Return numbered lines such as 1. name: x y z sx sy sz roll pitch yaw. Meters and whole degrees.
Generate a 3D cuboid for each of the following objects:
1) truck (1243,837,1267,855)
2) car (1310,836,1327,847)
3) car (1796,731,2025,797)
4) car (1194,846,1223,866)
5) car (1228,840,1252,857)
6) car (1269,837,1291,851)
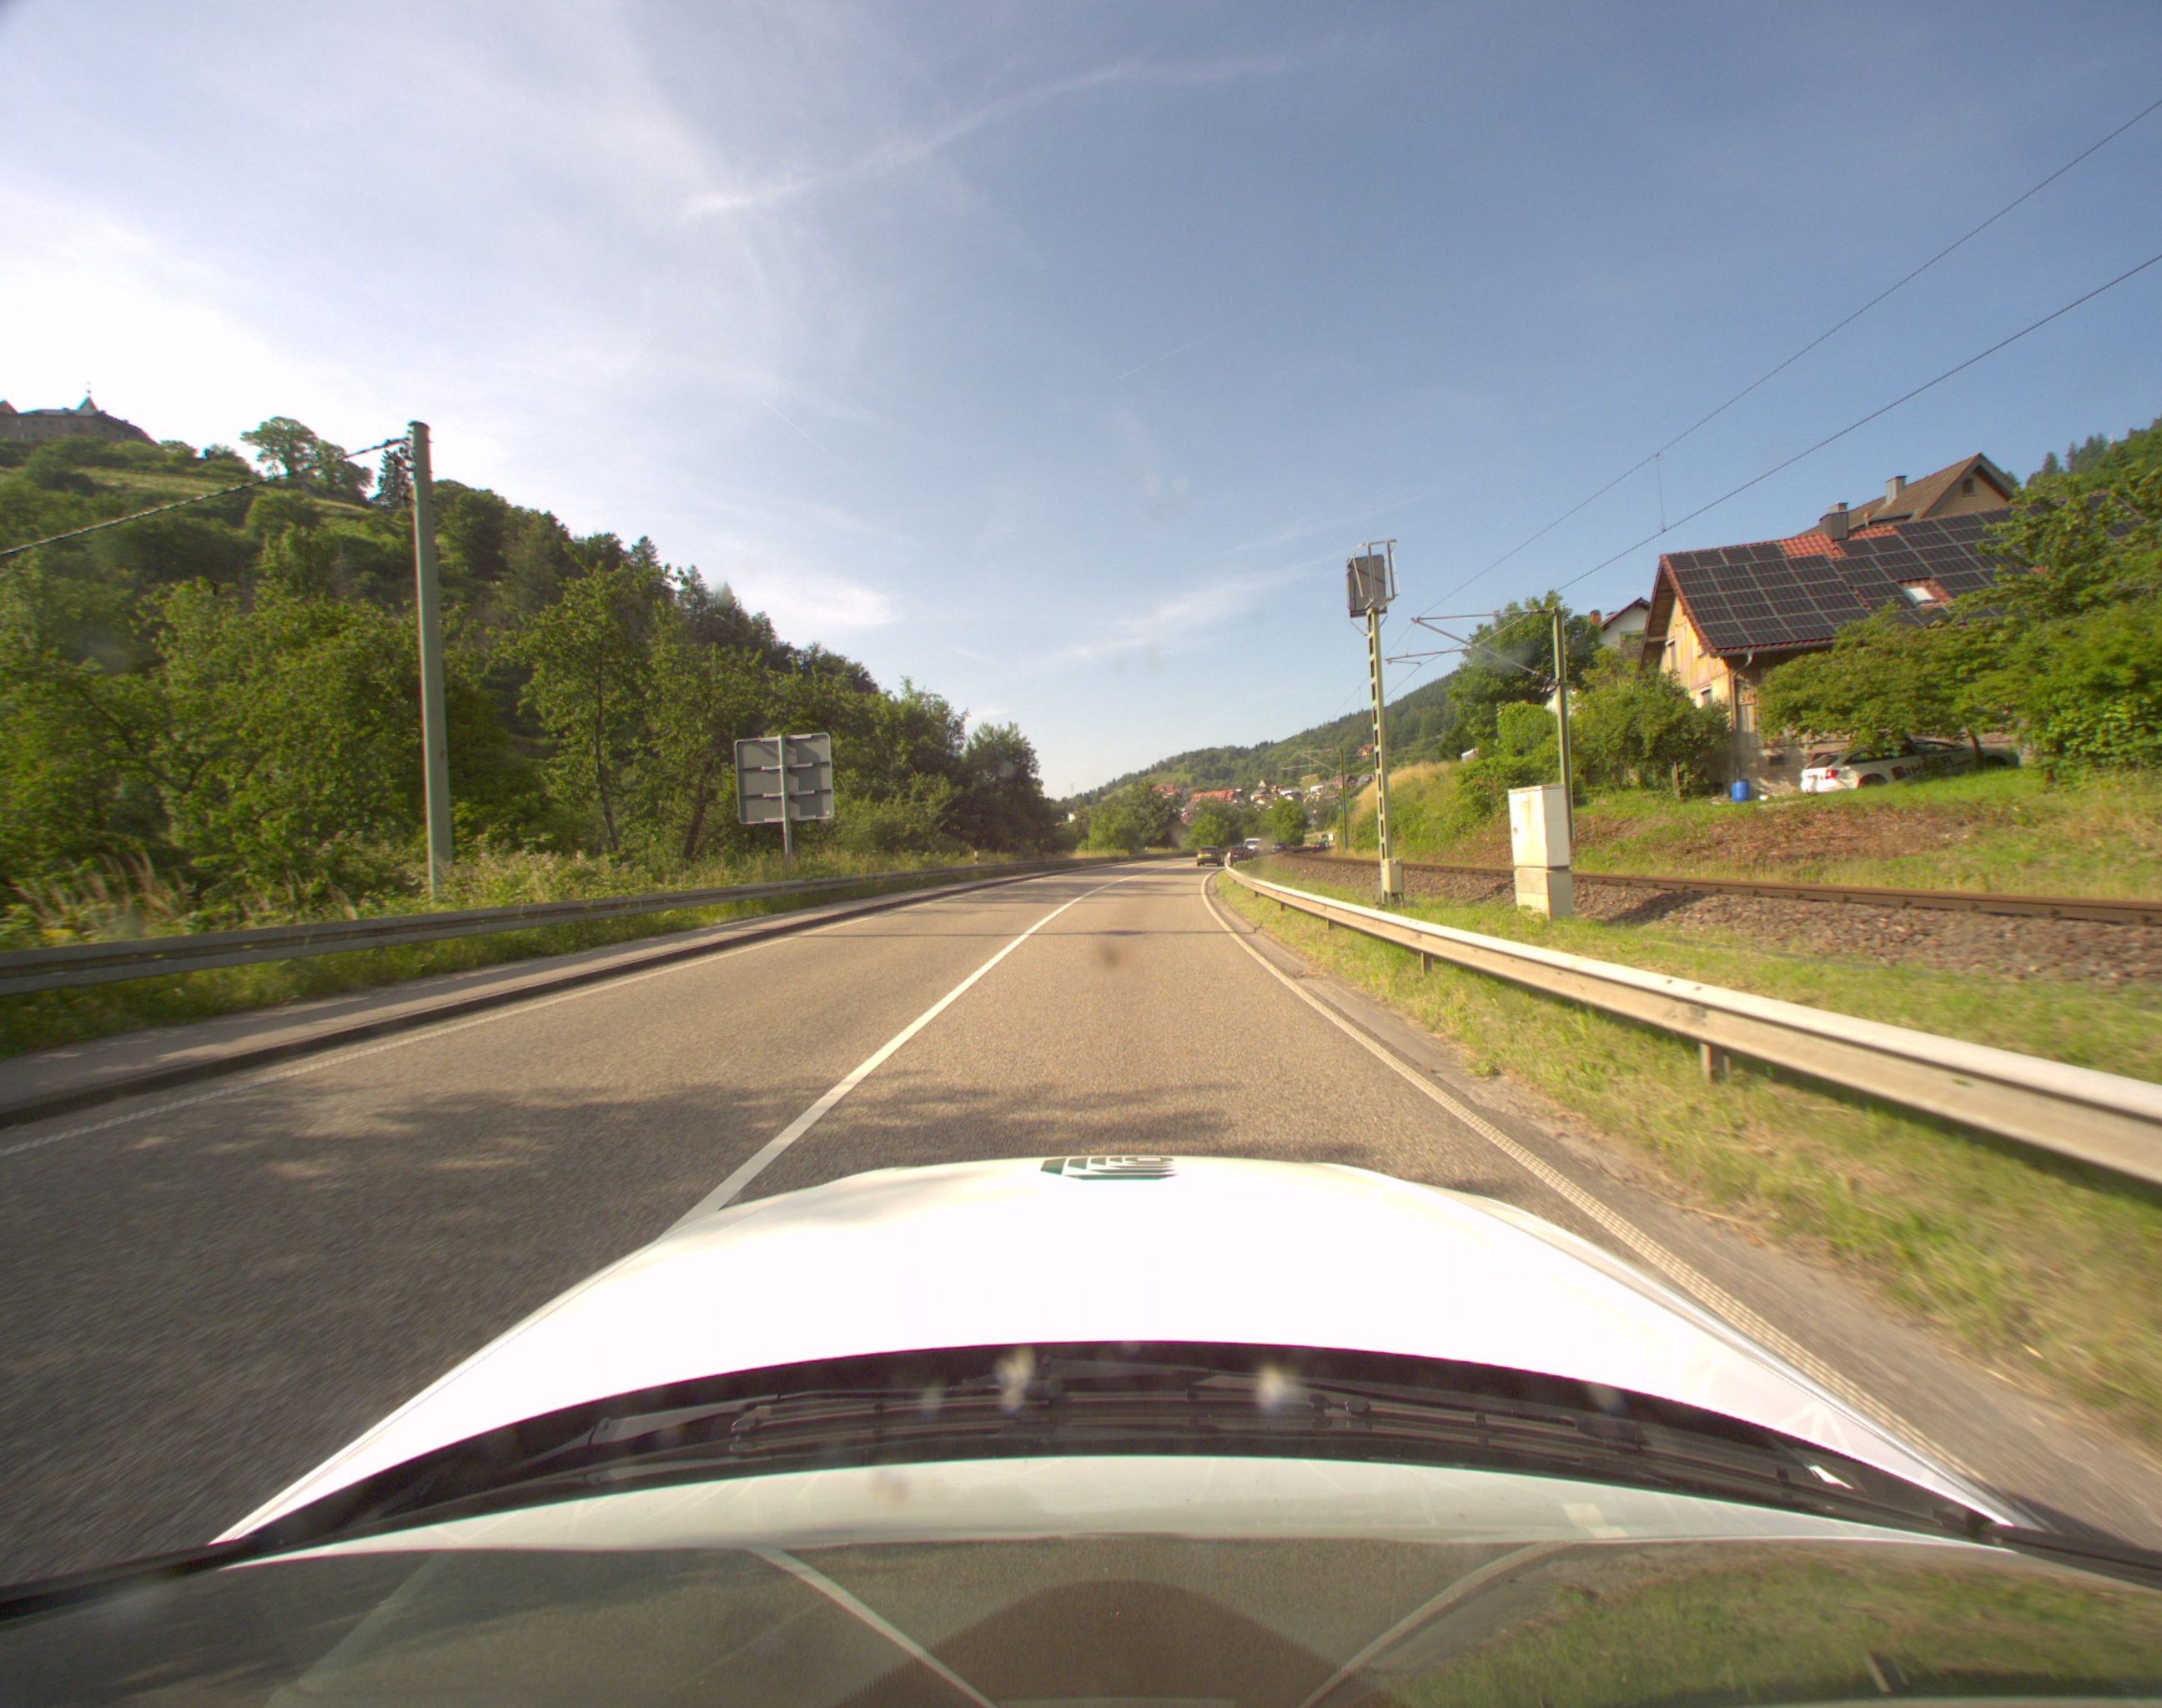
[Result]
1. truck: 23.419 -1.046 109.426 2.138 2.365 6.781 0 1 21
2. car: 37.503 -1.969 128.339 1.831 1.527 3.685 -3 0 27
3. car: 24.446 -2.611 24.214 4.420 1.583 1.785 -1 -1 19
4. car: 9.674 0.106 61.548 1.702 1.455 4.017 1 1 16
5. car: 15.543 -0.591 79.442 1.653 1.559 4.021 -1 1 21
6. car: 25.748 -1.308 105.310 1.863 1.686 4.024 -3 0 25
